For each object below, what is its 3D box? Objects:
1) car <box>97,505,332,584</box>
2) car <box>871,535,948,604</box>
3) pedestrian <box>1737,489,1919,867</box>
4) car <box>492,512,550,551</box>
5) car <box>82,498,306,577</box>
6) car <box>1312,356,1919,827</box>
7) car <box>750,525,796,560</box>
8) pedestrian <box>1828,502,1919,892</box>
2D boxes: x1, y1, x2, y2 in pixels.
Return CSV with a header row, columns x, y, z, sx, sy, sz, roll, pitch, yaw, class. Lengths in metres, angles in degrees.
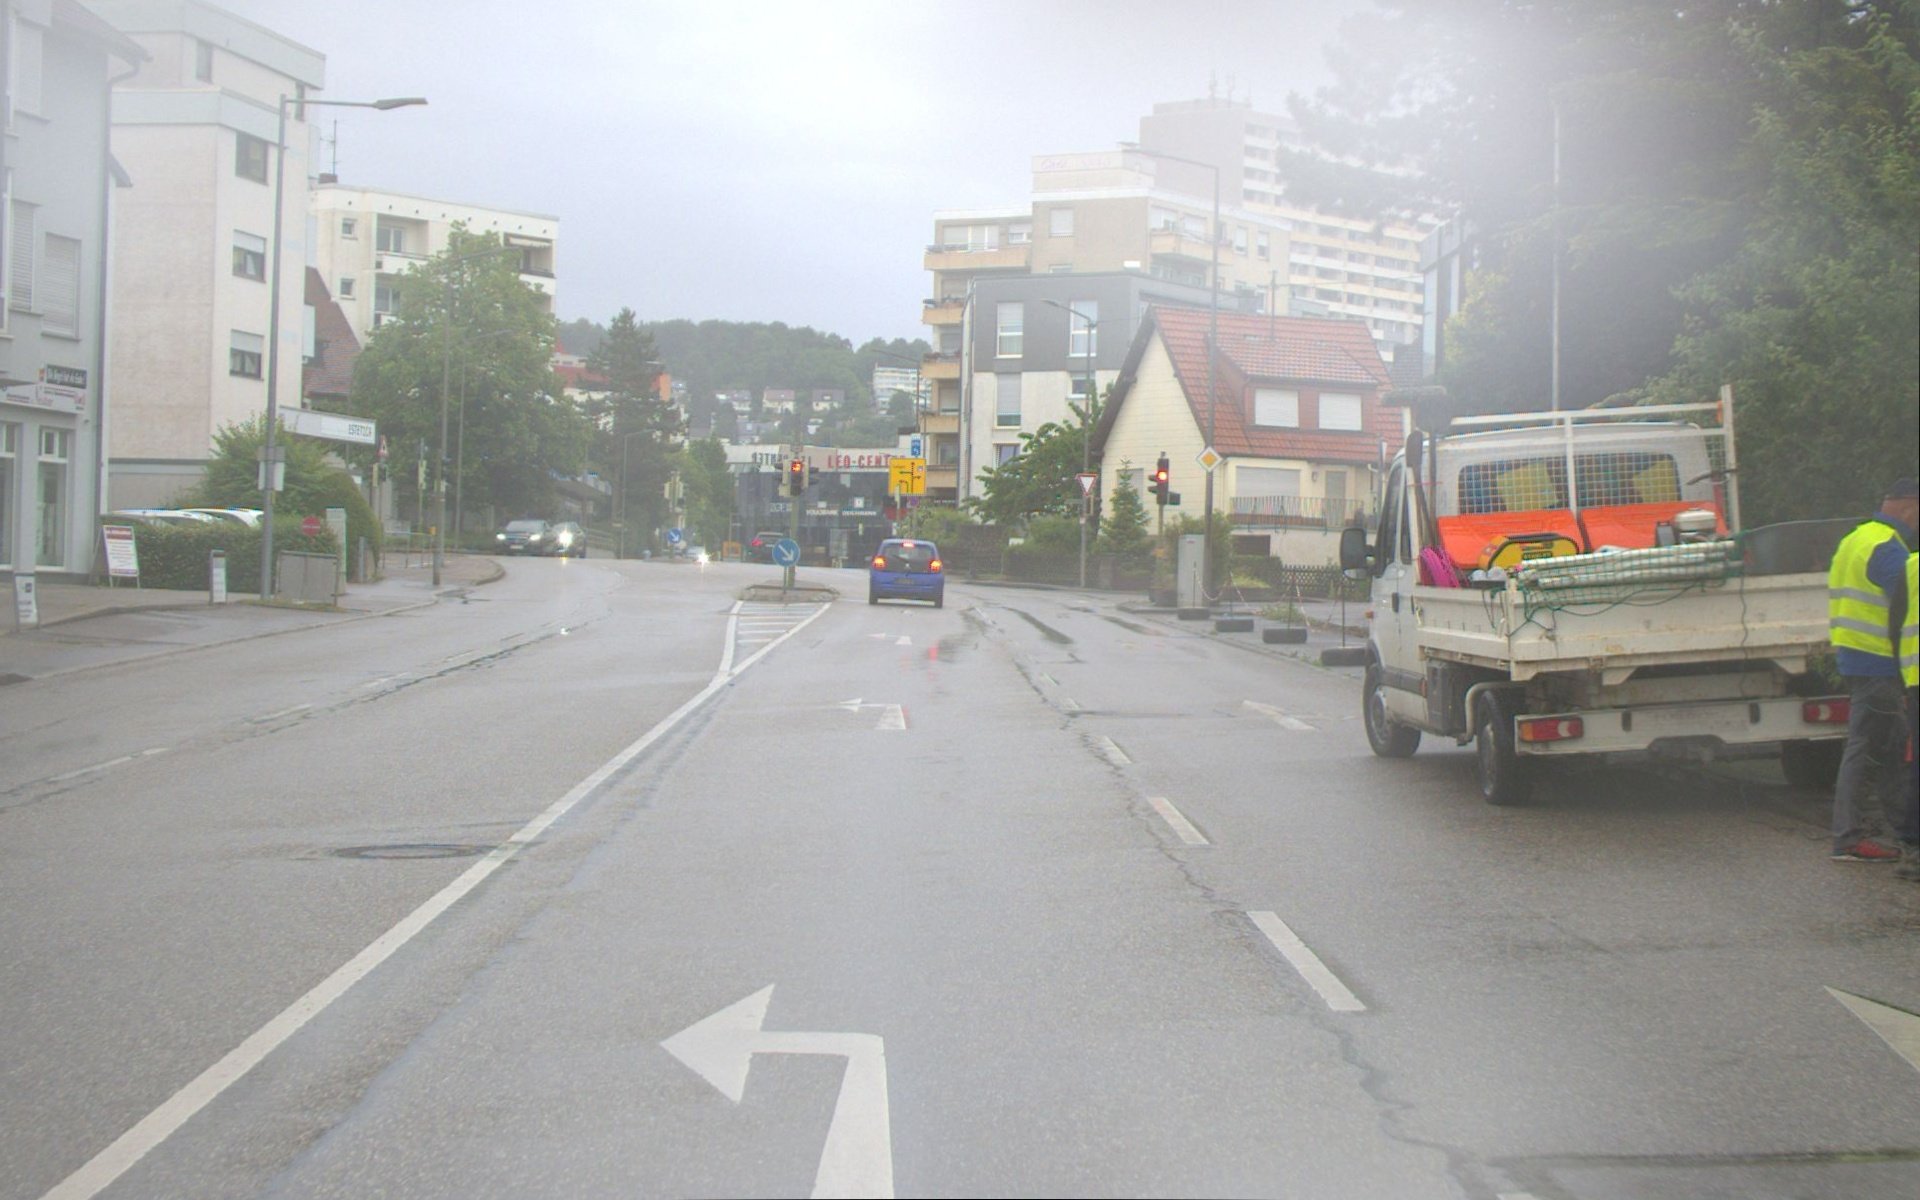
x,y,z,sx,sy,sz,roll,pitch,yaw,class
-14.973,-1.119,69.195,4.220,1.469,1.904,1,1,5,car
-1.085,-0.684,74.965,1.579,1.406,3.270,2,1,0,car
4.158,0.338,16.042,0.709,1.701,0.892,-1,1,-12,pedestrian
-16.940,-2.652,132.756,1.778,1.415,3.831,2,1,-1,car
-17.074,-1.395,76.727,4.452,1.631,1.938,2,1,10,car
3.729,-0.106,20.927,2.391,2.423,6.433,0,1,-1,car
-8.313,-2.578,153.226,1.813,1.481,4.189,1,1,0,car
4.287,0.402,15.030,0.575,1.658,0.944,-1,1,-12,pedestrian
